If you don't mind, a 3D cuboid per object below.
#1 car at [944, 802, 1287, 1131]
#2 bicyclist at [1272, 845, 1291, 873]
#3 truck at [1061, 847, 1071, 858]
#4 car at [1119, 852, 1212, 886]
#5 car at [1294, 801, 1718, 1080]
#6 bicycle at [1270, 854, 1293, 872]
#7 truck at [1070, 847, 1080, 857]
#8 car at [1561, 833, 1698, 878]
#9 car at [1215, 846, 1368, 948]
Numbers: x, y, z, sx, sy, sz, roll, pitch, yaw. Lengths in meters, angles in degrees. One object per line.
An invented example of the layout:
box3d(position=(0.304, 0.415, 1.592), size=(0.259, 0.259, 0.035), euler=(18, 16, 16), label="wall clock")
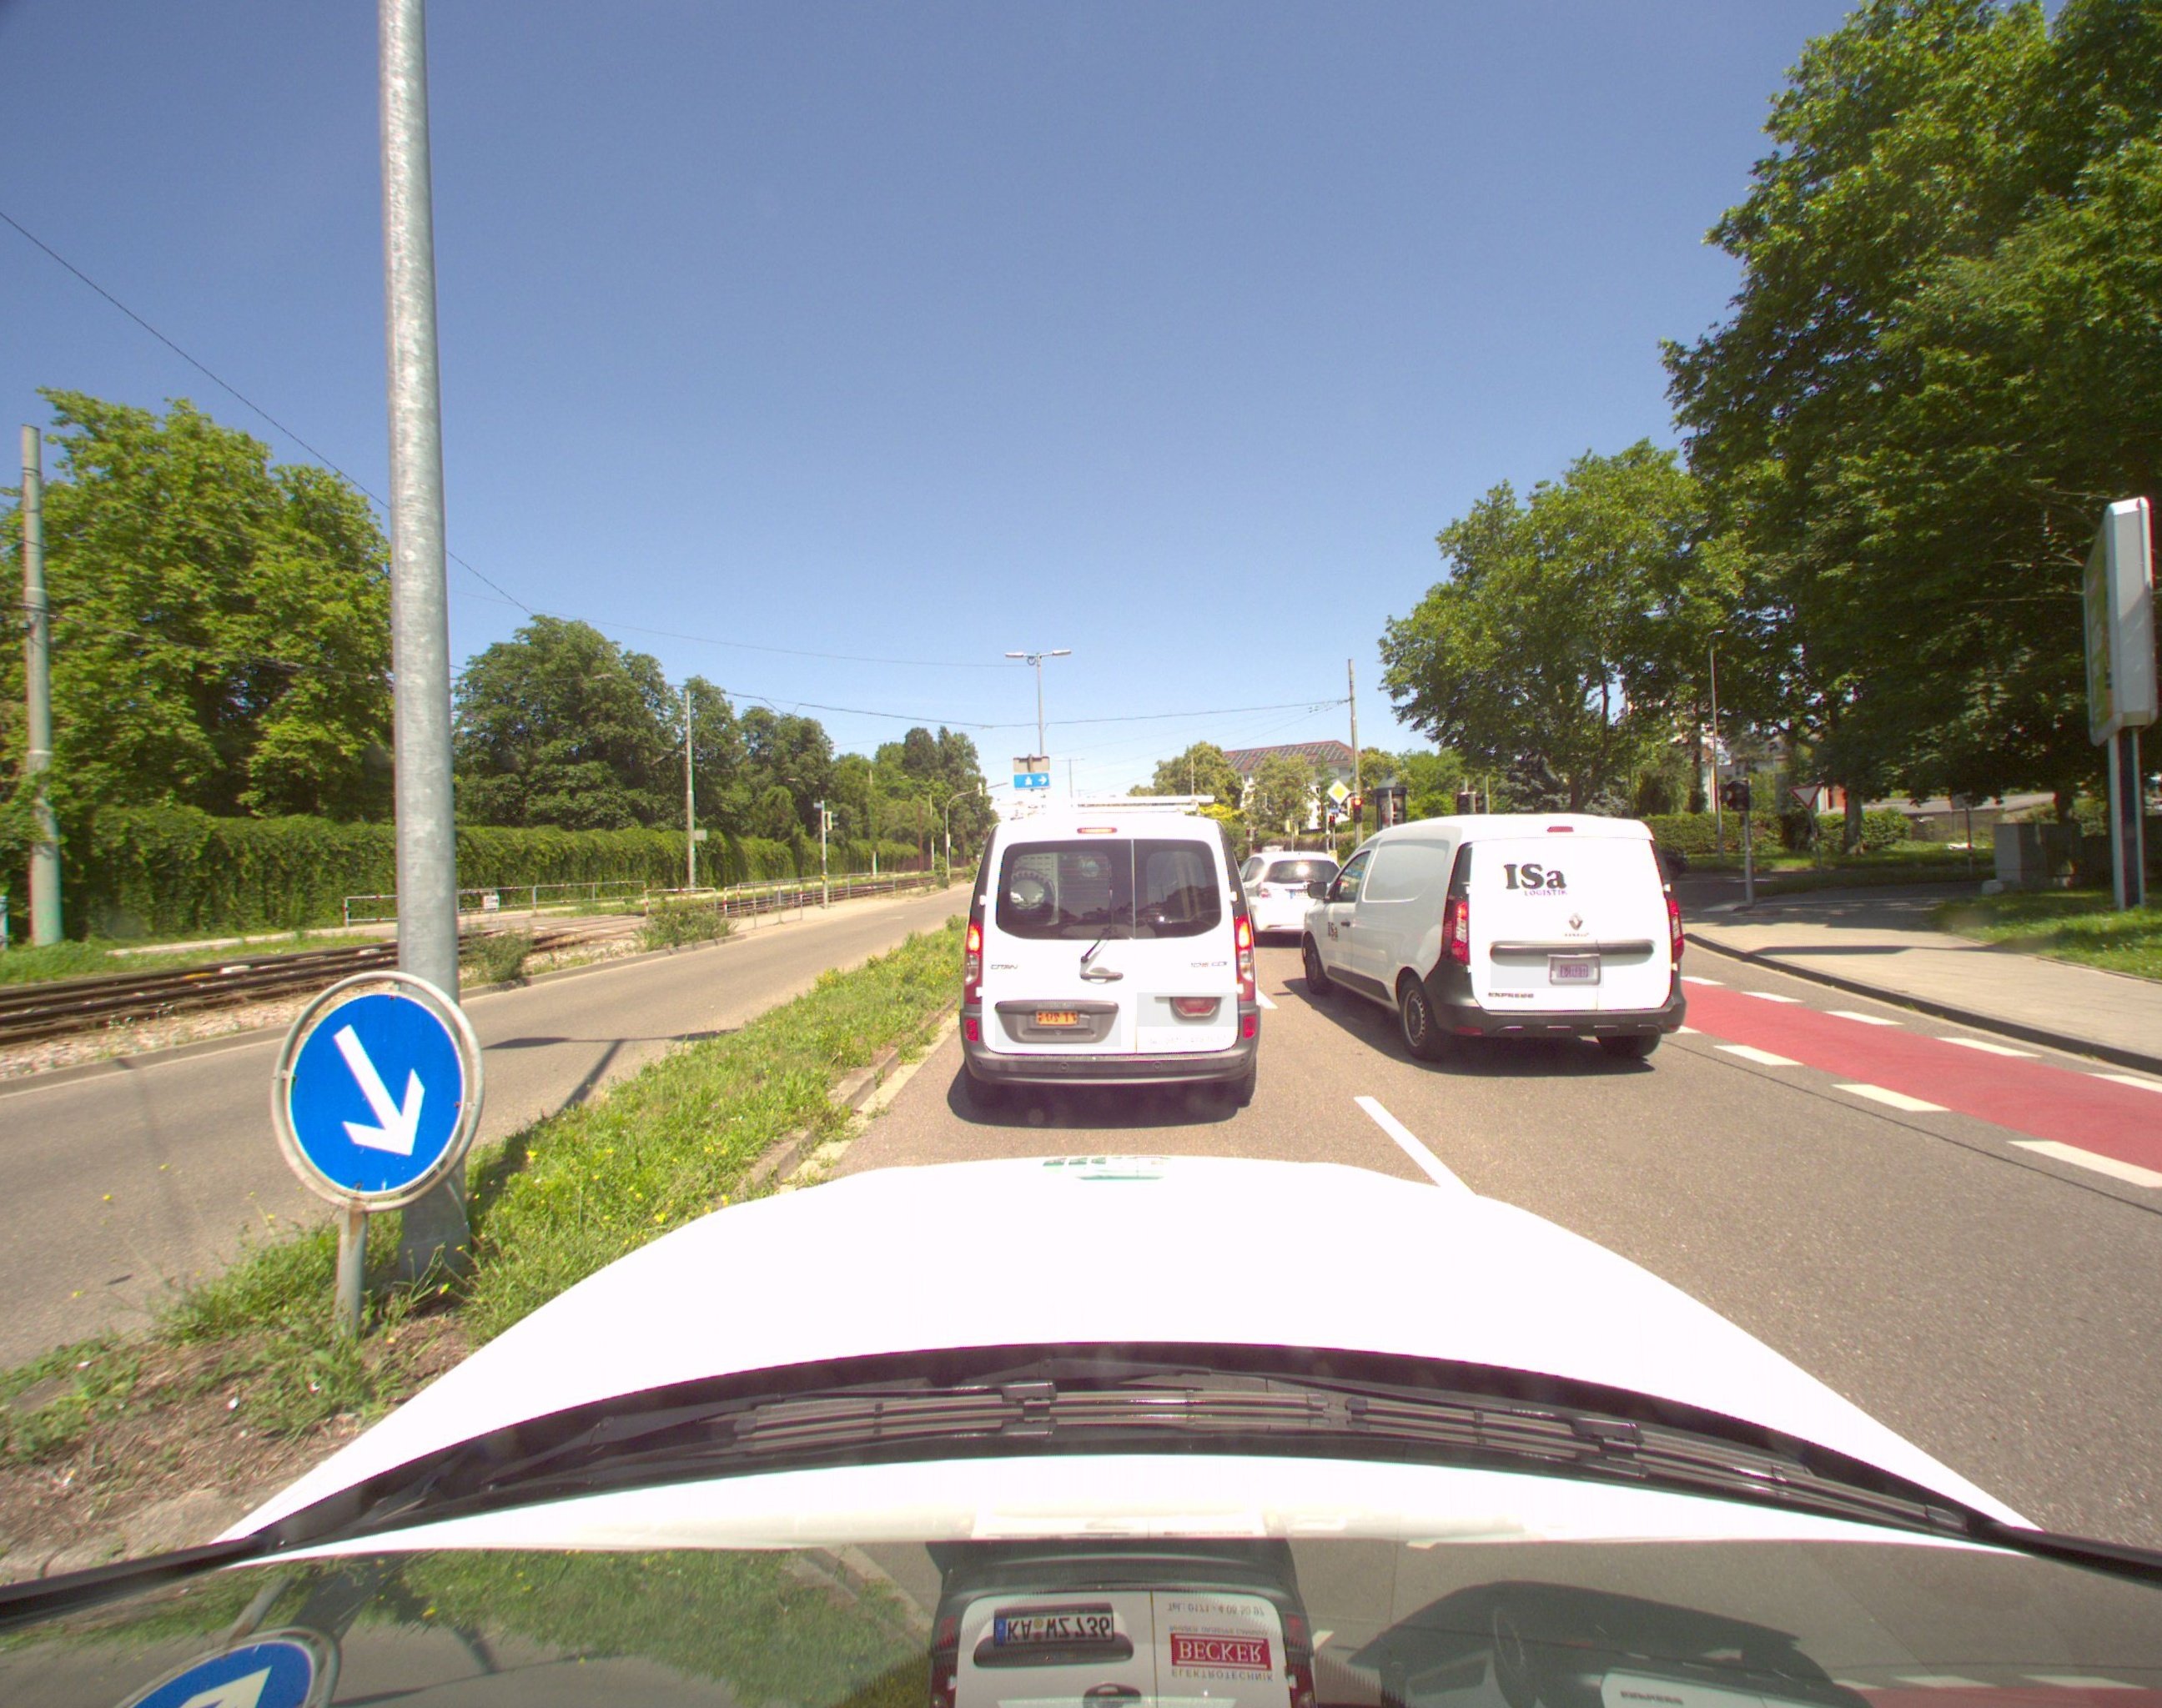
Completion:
box3d(position=(0.251, 0.611, 6.544), size=(1.814, 1.739, 4.398), euler=(-1, 0, 2), label="car")
box3d(position=(13.041, 0.338, 52.932), size=(0.971, 1.788, 0.725), euler=(-2, -1, -3), label="bicyclist")
box3d(position=(-3.918, -0.367, 214.643), size=(2.131, 2.587, 5.891), euler=(0, -1, 2), label="truck")
box3d(position=(3.921, 0.714, 38.144), size=(3.948, 1.520, 1.764), euler=(-2, -1, 37), label="car")
box3d(position=(3.272, 0.566, 7.289), size=(1.721, 1.788, 4.065), euler=(0, 0, 1), label="car")
box3d(position=(13.009, 0.589, 52.949), size=(0.890, 1.159, 1.954), euler=(-2, -1, -3), label="bicycle")
box3d(position=(-1.450, -0.454, 206.099), size=(2.131, 2.587, 5.891), euler=(0, -1, 2), label="truck")
box3d(position=(20.650, 0.055, 30.839), size=(3.958, 1.597, 1.706), euler=(-1, 0, 15), label="car")
box3d(position=(3.608, 0.658, 14.680), size=(1.828, 1.568, 4.002), euler=(0, 0, 2), label="car")
